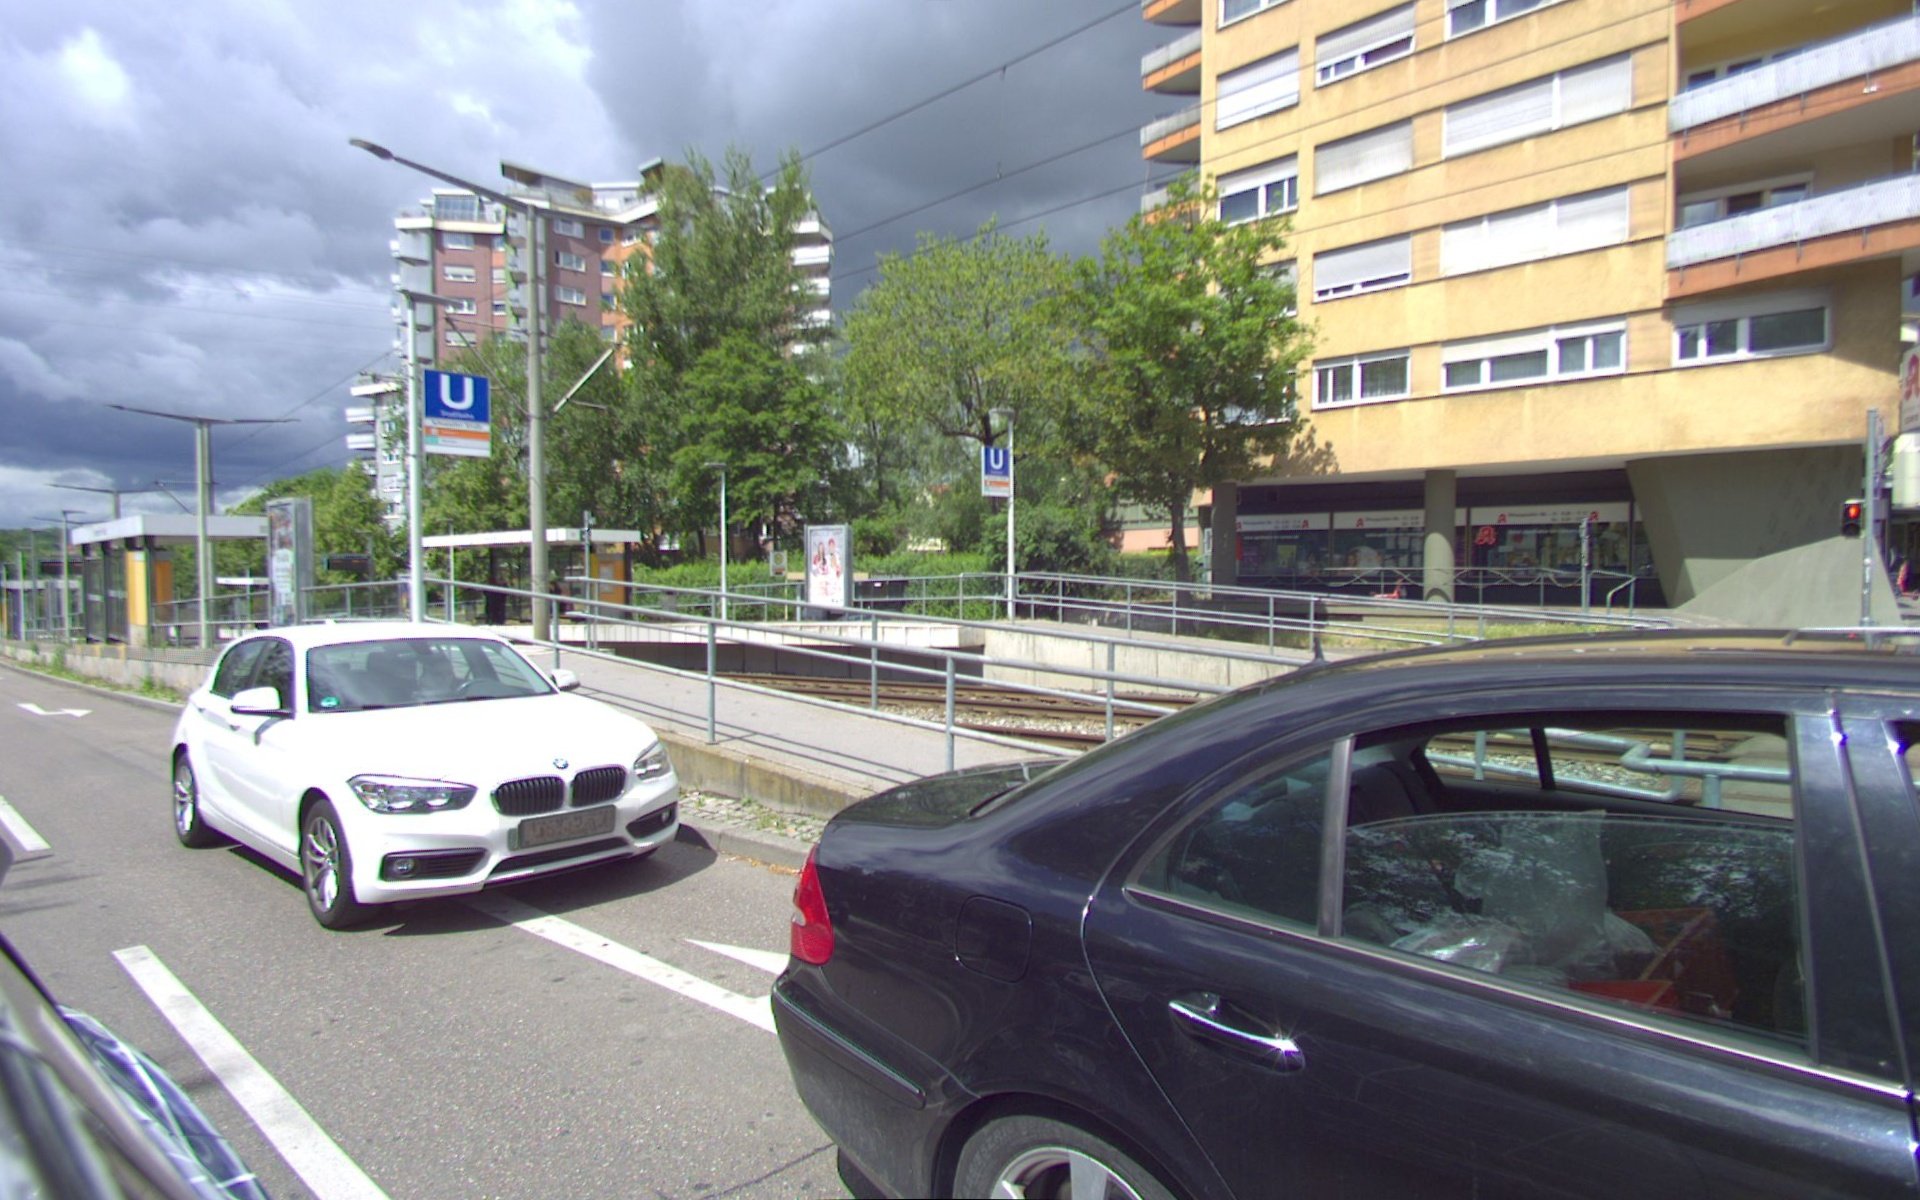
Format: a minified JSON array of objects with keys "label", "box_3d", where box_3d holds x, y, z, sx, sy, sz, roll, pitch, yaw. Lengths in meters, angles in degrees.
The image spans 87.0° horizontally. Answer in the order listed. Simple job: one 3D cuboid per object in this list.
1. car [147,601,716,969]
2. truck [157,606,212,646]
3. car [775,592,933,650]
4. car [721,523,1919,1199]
[{"label":"car","box_3d":[-3.369,0.775,6.087,3.998,1.472,1.710,-1,0,41]},{"label":"truck","box_3d":[-65.957,2.204,85.985,7.260,3.247,2.389,-2,-1,42]},{"label":"car","box_3d":[-2.915,0.514,27.137,4.492,1.410,1.618,0,1,41]},{"label":"car","box_3d":[1.738,0.649,1.388,4.542,1.472,1.710,-1,0,41]}]
